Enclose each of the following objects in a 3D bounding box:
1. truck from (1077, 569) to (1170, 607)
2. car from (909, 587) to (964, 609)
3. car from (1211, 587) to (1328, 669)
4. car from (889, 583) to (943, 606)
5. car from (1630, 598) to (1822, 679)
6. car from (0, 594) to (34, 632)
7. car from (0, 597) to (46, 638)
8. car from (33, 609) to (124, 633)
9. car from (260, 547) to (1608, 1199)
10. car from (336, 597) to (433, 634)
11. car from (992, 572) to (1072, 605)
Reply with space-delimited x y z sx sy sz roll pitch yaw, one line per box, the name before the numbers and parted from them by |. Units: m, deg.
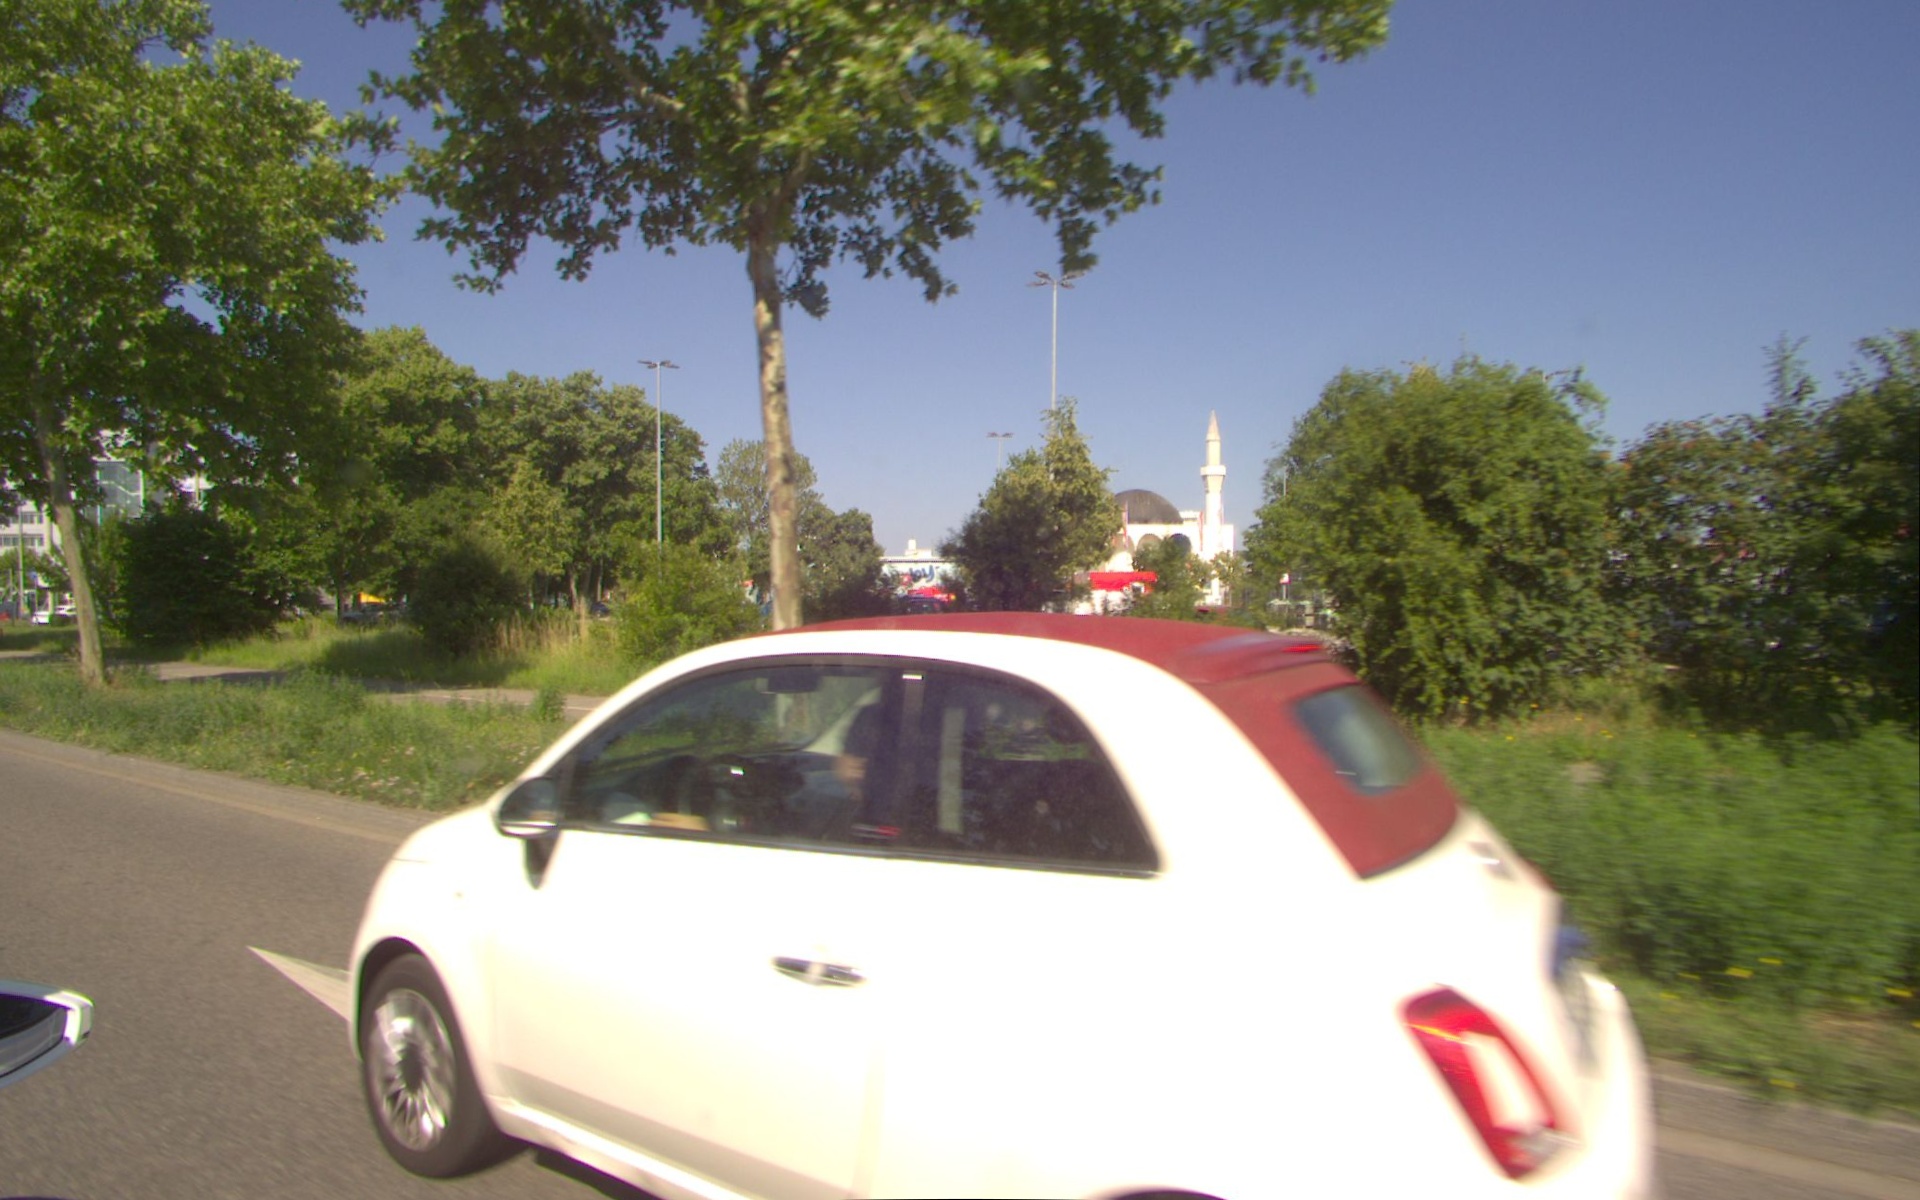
truck | 14.712 -1.044 90.585 8.068 3.290 2.000 0 -1 -2
car | -2.104 -0.148 90.666 4.824 1.906 1.770 0 -1 2
car | 7.074 0.637 22.659 1.663 1.692 3.815 0 -1 31
car | -4.240 -0.481 96.276 5.188 2.038 2.002 0 -4 -4
car | 14.933 0.737 19.762 1.671 1.438 3.544 0 -1 13
car | -43.460 0.563 43.889 1.701 1.683 3.973 -1 -2 38
car | -40.789 0.730 41.569 1.701 1.683 3.973 -1 -2 38
car | -55.332 1.360 62.965 1.697 1.446 4.456 0 -1 1
car | -0.260 0.707 2.799 3.471 1.455 1.658 -1 -1 34
car | -27.673 0.750 48.251 3.681 1.738 1.766 1 -1 -14
car | 5.293 -0.837 74.501 5.822 2.371 2.115 0 -1 1
